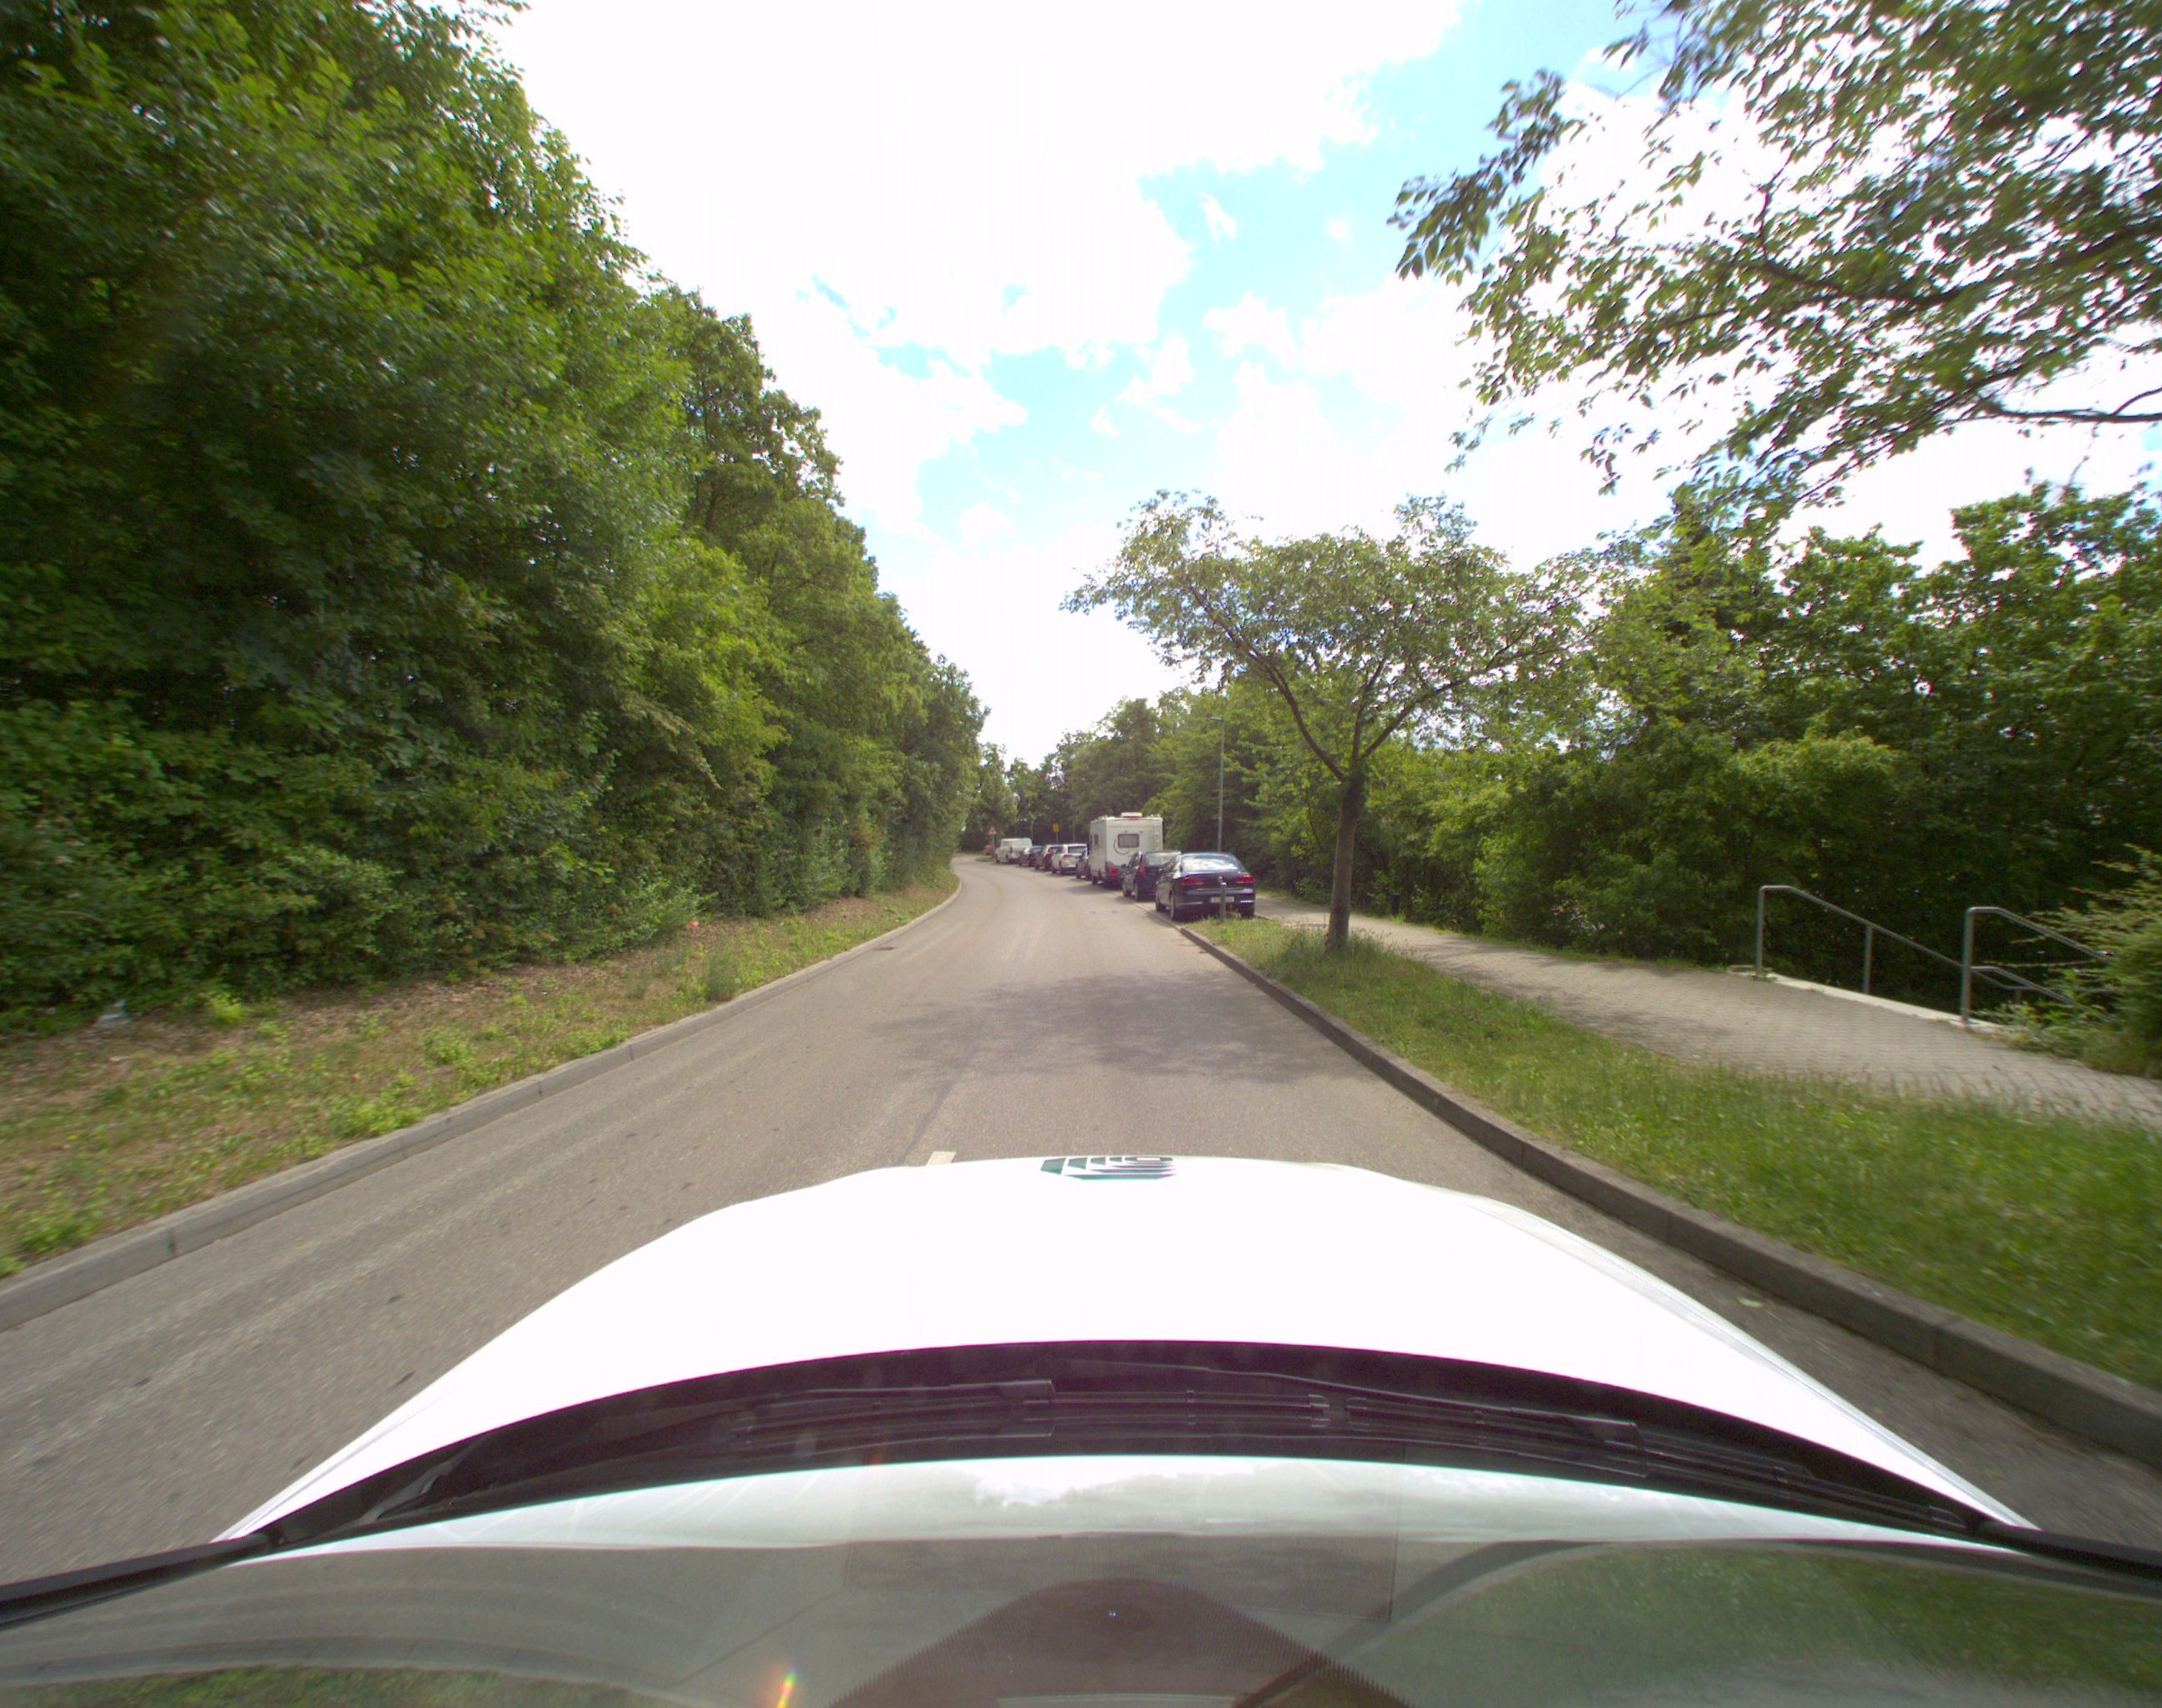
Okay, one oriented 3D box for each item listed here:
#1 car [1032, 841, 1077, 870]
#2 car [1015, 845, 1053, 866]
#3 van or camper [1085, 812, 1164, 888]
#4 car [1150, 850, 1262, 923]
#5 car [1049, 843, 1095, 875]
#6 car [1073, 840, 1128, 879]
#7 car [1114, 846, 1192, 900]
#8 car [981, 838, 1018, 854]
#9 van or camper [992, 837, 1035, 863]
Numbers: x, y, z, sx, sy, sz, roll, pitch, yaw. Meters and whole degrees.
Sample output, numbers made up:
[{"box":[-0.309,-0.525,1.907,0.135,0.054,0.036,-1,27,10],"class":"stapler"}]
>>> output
[{"box":[-1.743,0.056,52.446,1.996,1.626,4.259,-3,2,-13],"class":"car"},{"box":[-3.425,0.075,59.033,1.802,1.464,3.977,-1,1,-17],"class":"car"},{"box":[1.659,-0.182,33.579,2.330,2.869,6.137,0,0,-6],"class":"van or camper"},{"box":[2.743,0.649,18.795,1.771,1.434,4.330,-2,1,-2],"class":"car"},{"box":[-0.573,0.223,46.691,1.872,1.689,4.563,0,1,-11],"class":"car"},{"box":[0.877,0.249,39.672,1.712,1.591,3.985,-8,2,-11],"class":"car"},{"box":[2.225,0.582,25.991,1.727,1.519,3.880,-2,-1,-6],"class":"car"},{"box":[-8.395,-0.838,83.736,3.546,1.480,1.771,-1,3,-18],"class":"car"},{"box":[-5.391,-0.366,64.592,2.001,1.919,5.229,-2,2,-21],"class":"van or camper"}]
